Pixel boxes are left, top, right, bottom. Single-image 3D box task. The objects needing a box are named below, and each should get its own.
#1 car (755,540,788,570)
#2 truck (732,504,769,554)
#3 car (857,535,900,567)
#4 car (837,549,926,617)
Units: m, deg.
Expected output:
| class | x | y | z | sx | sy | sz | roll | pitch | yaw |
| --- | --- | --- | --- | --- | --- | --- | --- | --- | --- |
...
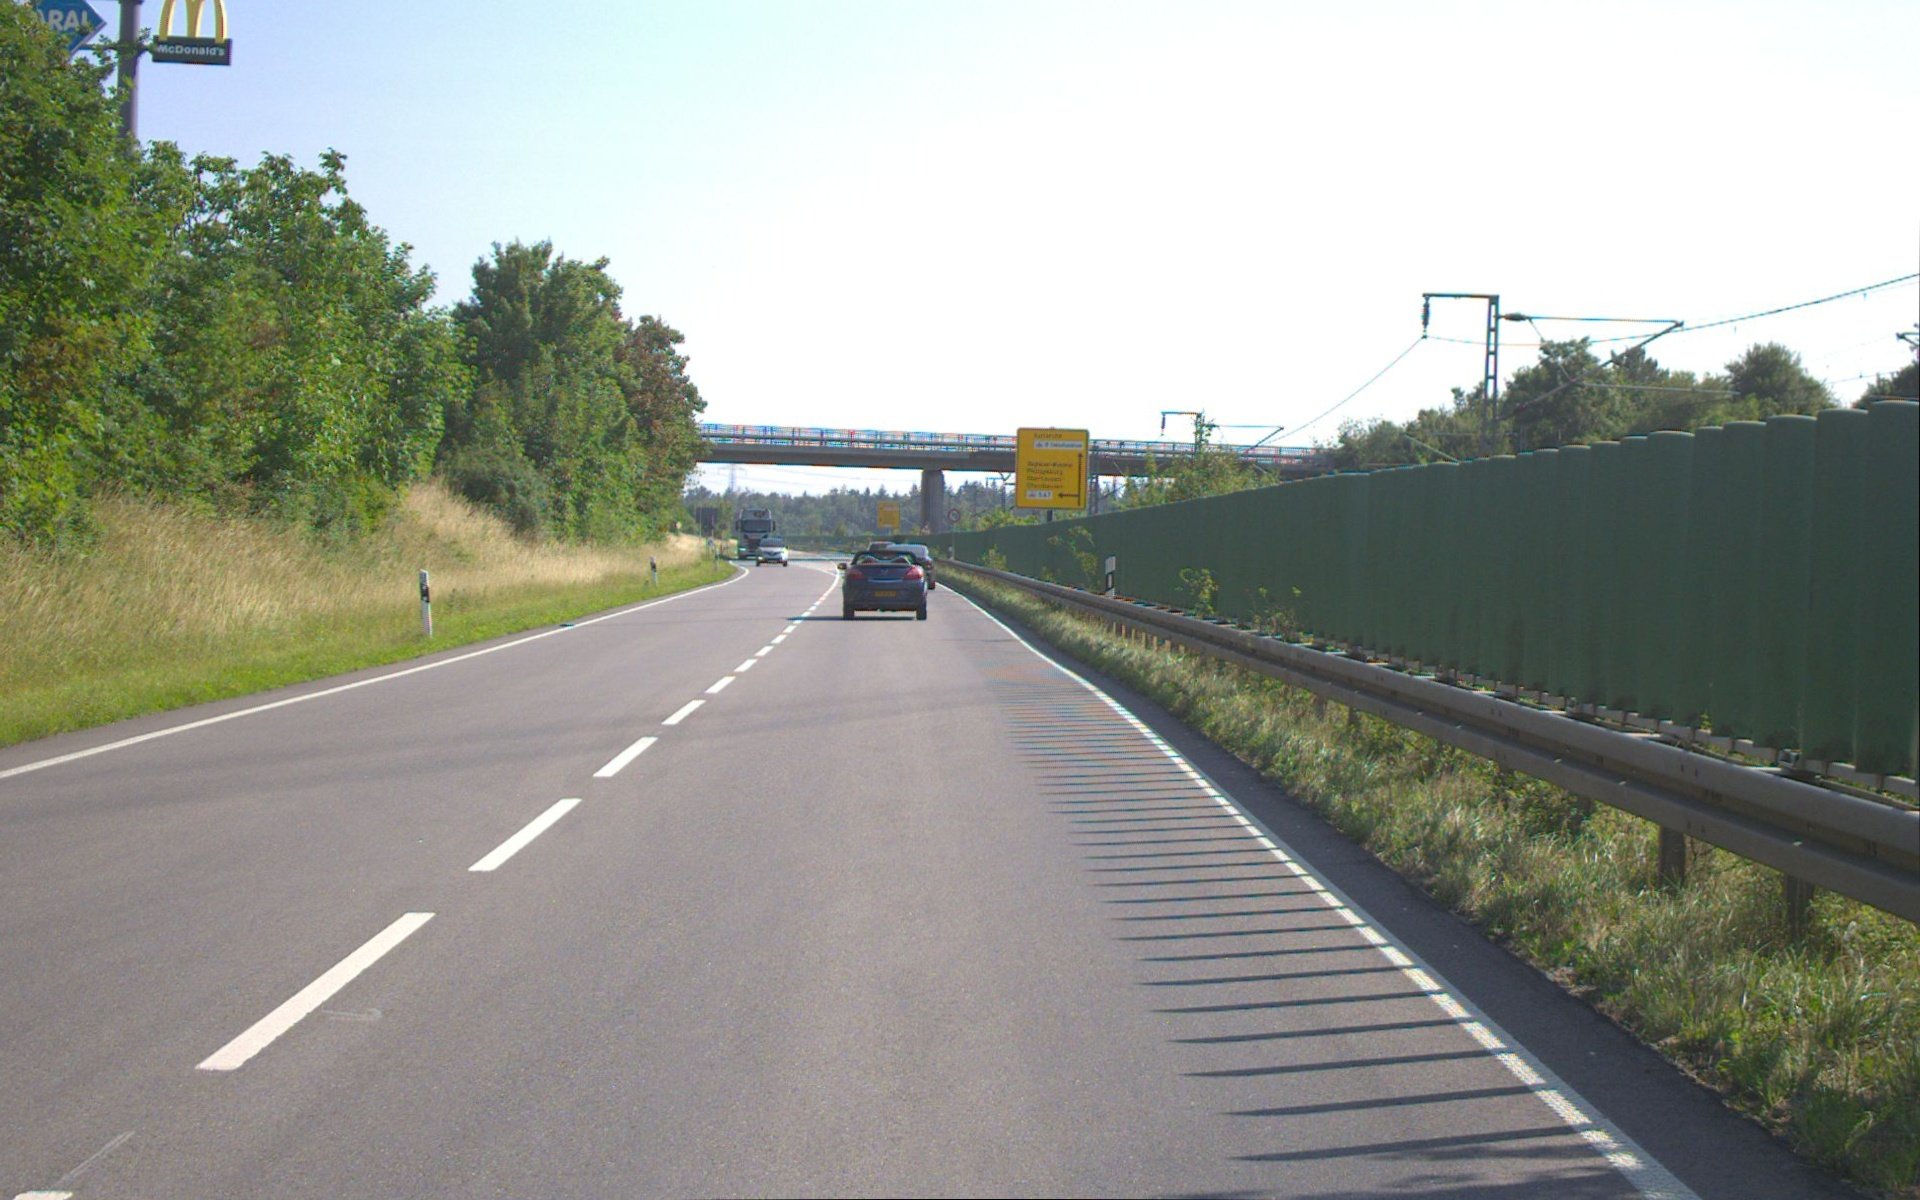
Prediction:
| class | x | y | z | sx | sy | sz | roll | pitch | yaw |
| --- | --- | --- | --- | --- | --- | --- | --- | --- | --- |
| car | -10.557 | -2.519 | 192.750 | 1.795 | 1.588 | 4.000 | 1 | 1 | -2 |
| truck | -15.786 | -5.338 | 259.714 | 2.559 | 3.676 | 10.489 | 1 | 1 | -2 |
| car | -3.773 | -2.258 | 159.148 | 1.895 | 1.413 | 4.000 | 1 | 1 | -2 |
| car | -1.570 | -0.349 | 67.640 | 1.663 | 1.257 | 4.000 | 1 | 1 | -2 |
